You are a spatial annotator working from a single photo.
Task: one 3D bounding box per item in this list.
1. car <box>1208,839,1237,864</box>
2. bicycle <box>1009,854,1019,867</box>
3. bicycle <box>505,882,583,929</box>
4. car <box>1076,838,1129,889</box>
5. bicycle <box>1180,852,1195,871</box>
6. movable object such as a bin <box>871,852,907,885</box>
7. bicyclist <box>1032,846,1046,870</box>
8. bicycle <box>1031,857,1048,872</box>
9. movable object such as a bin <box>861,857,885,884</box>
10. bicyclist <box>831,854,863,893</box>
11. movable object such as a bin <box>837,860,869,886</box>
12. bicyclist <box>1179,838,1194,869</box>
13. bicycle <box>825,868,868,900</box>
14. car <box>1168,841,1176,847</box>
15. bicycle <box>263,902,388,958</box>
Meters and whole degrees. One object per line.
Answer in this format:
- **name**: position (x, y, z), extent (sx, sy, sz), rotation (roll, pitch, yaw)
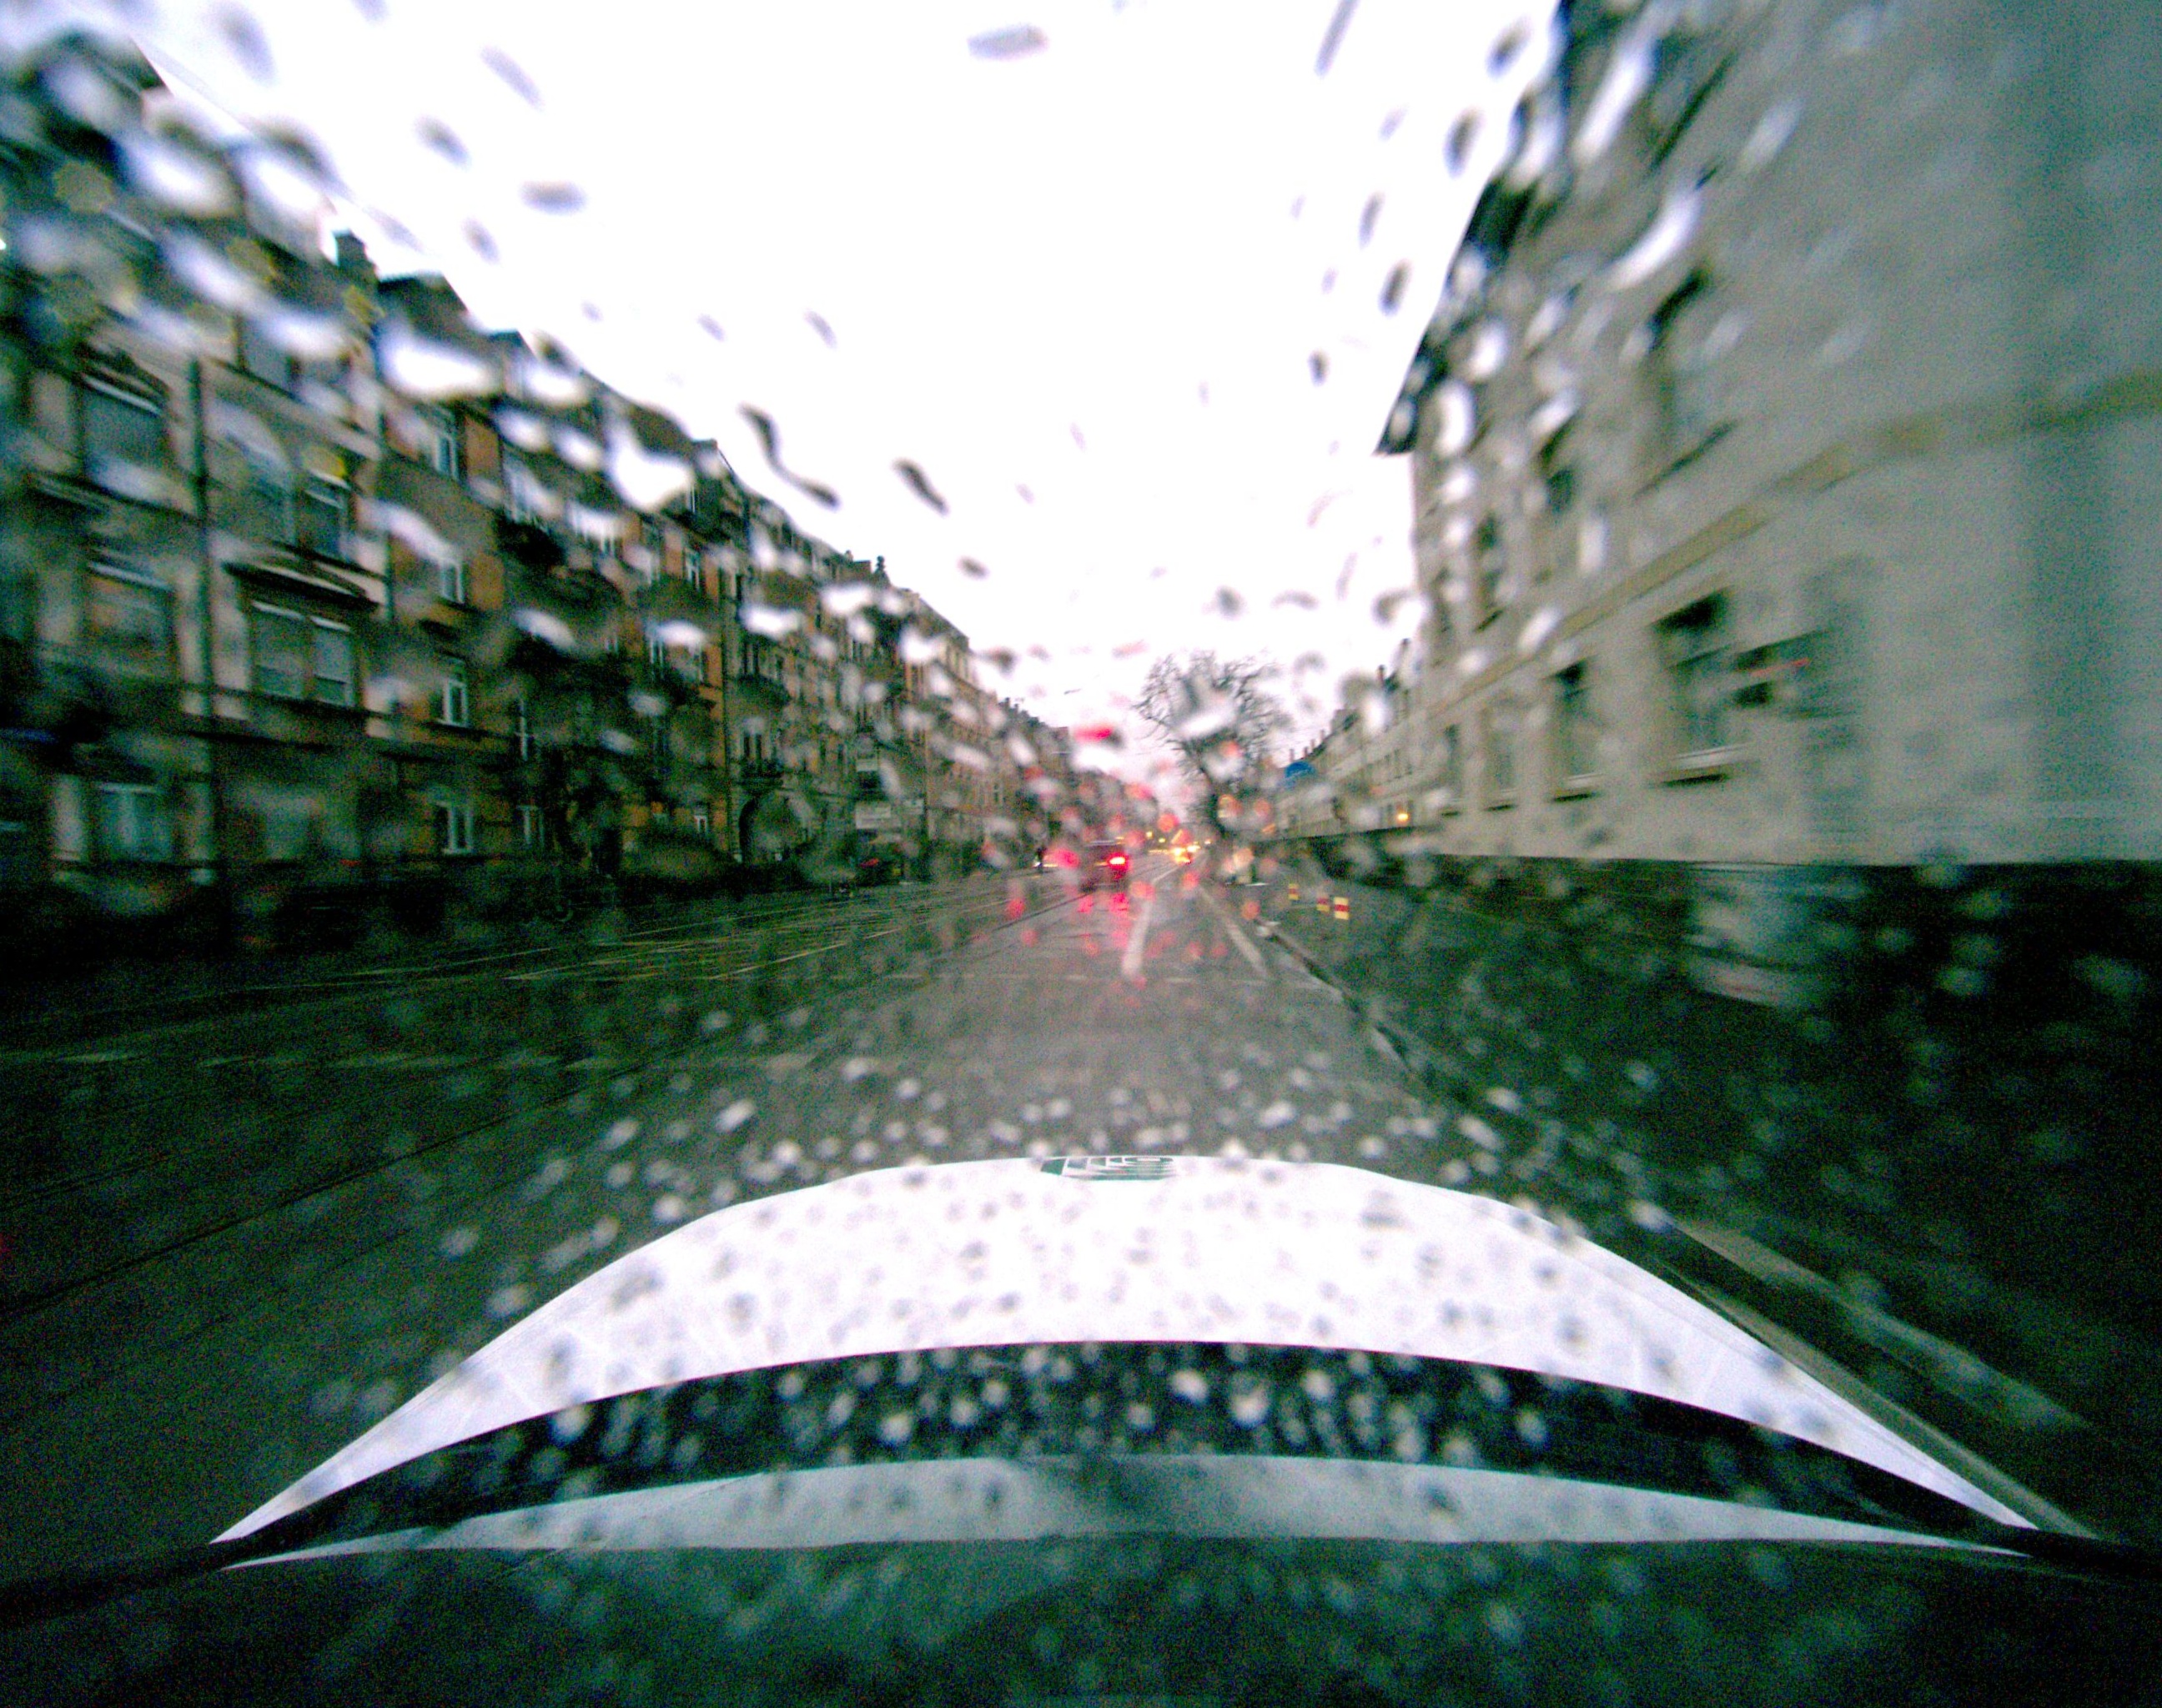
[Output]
- **car**: position (9.239, -0.204, 53.423), extent (1.775, 1.509, 3.998), rotation (-2, 1, 9)
- **bicycle**: position (-5.150, 0.504, 62.571), extent (0.261, 0.915, 1.690), rotation (3, 2, 9)
- **bicycle**: position (-13.379, 1.262, 20.343), extent (0.413, 1.007, 1.854), rotation (-2, 1, 11)
- **car**: position (0.907, 0.308, 32.181), extent (1.793, 1.870, 4.025), rotation (0, 1, 6)
- **bicycle**: position (6.062, 0.435, 46.463), extent (0.727, 1.007, 1.769), rotation (-2, 1, 10)
- **movable object such as a bin**: position (-9.531, 0.710, 40.415), extent (1.235, 1.585, 1.313), rotation (-1, 1, 14)
- **bicyclist**: position (-2.853, 0.255, 55.408), extent (0.679, 1.616, 0.768), rotation (-2, 0, 10)
- **bicycle**: position (-2.822, 0.726, 55.593), extent (0.674, 0.972, 1.939), rotation (-2, 1, 10)
- **movable object such as a bin**: position (-10.123, 0.798, 39.614), extent (0.890, 1.292, 0.748), rotation (-2, 1, 7)
- **bicyclist**: position (-8.290, 0.681, 28.891), extent (0.700, 1.364, 0.947), rotation (0, 1, 11)
- **movable object such as a bin**: position (-11.169, 0.907, 39.855), extent (1.178, 1.207, 0.947), rotation (-2, 1, 7)
- **bicyclist**: position (6.033, -0.024, 46.412), extent (0.726, 1.736, 0.768), rotation (-2, 0, 10)
- **bicycle**: position (-8.288, 1.041, 28.862), extent (0.677, 1.007, 1.808), rotation (-2, 1, 10)
- **car**: position (24.674, -2.707, 220.224), extent (1.912, 1.720, 4.011), rotation (-2, 1, 9)
- **bicycle**: position (-14.416, 1.420, 15.605), extent (0.397, 0.862, 1.854), rotation (-2, 1, 11)
